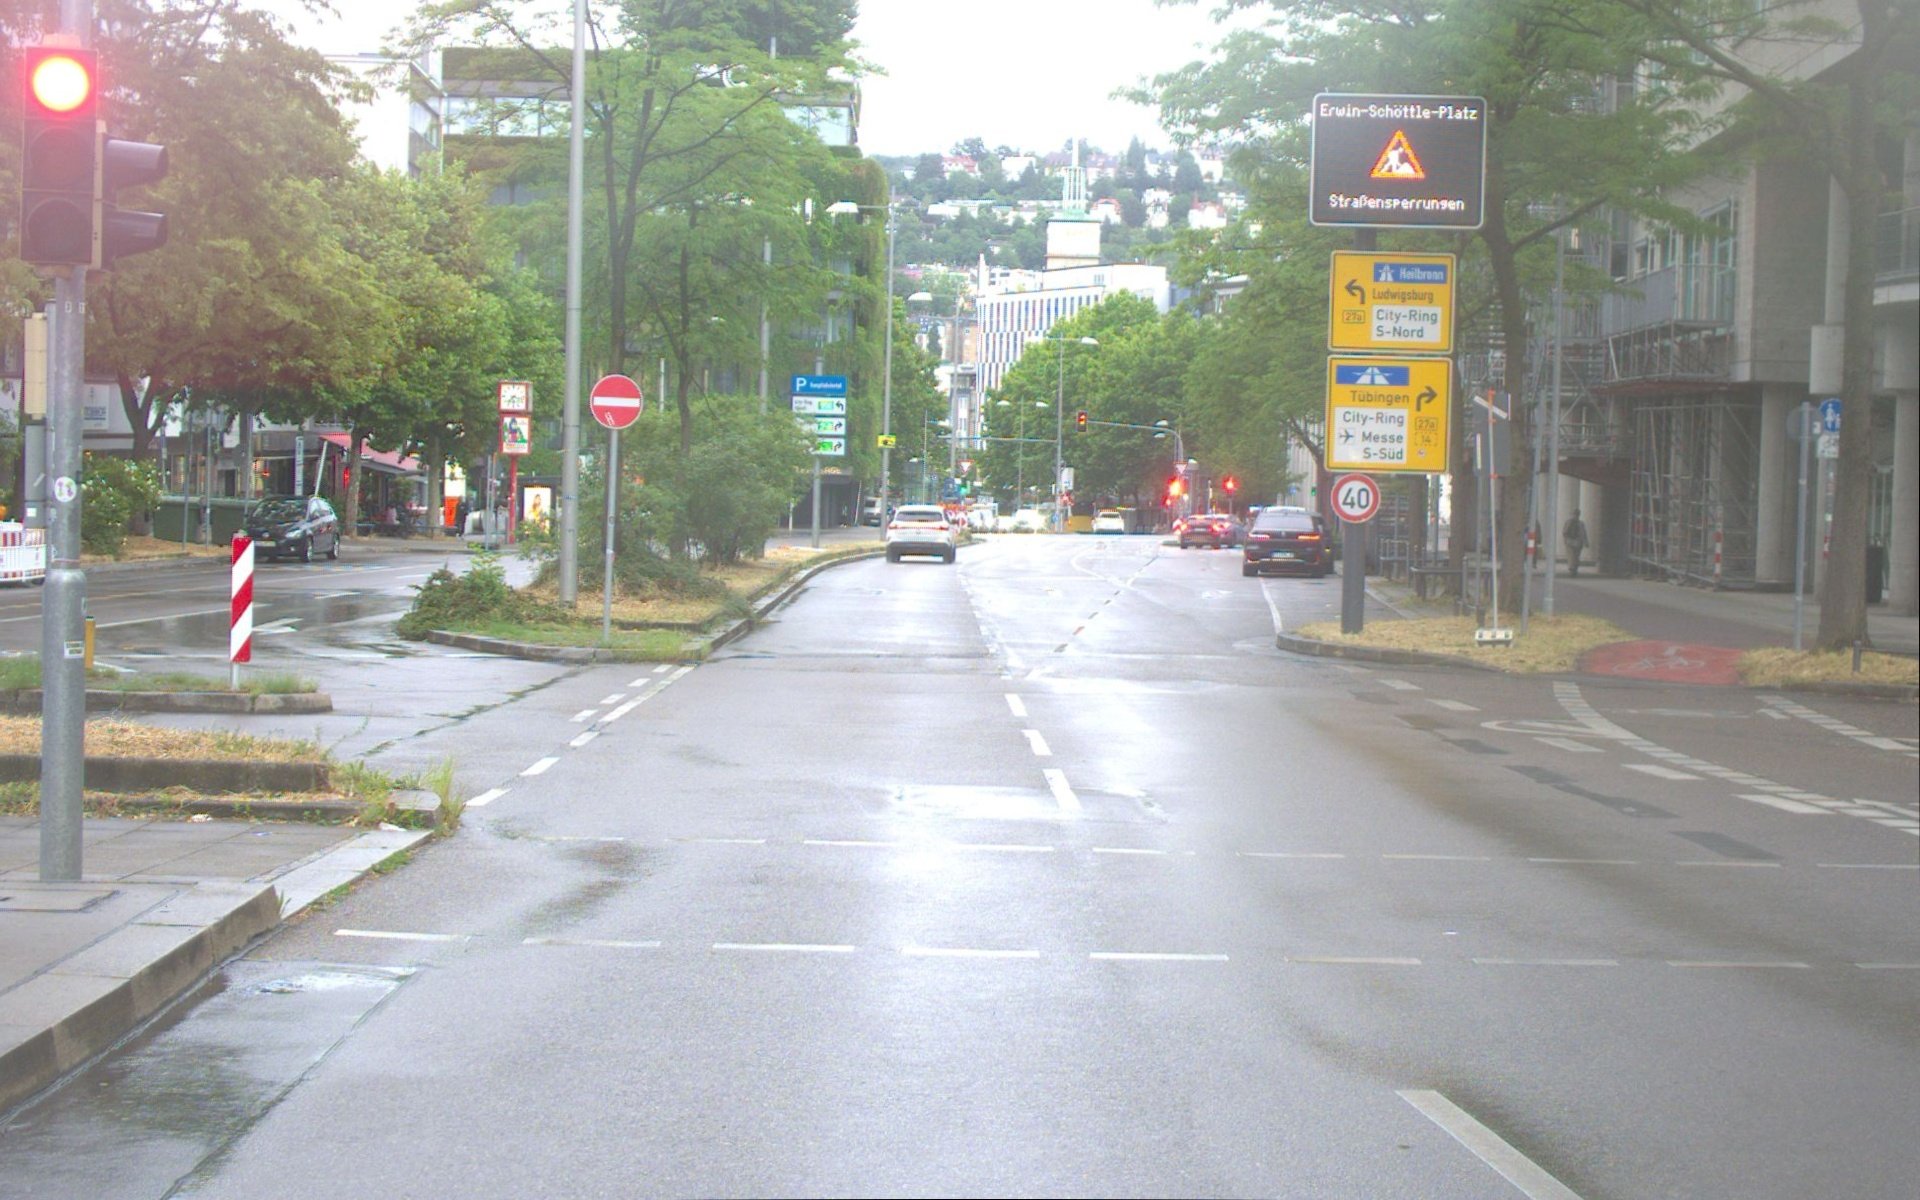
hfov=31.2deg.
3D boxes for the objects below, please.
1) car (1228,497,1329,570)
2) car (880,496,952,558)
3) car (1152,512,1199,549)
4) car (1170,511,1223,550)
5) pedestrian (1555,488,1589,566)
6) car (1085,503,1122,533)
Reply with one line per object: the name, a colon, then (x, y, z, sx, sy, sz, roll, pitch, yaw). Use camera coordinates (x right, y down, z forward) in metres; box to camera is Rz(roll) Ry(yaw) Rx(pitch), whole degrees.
car: (7.755, -1.625, 83.429, 2.339, 1.685, 3.999, 1, 2, 6)
car: (-1.267, -2.055, 97.133, 1.828, 1.634, 4.301, 2, 1, -2)
car: (10.445, -3.355, 166.806, 1.993, 1.730, 4.000, 1, 0, -1)
car: (10.705, -3.134, 155.649, 1.993, 1.718, 4.000, 1, 0, -1)
pedestrian: (15.081, -1.801, 84.749, 0.775, 1.914, 0.702, 1, 0, 10)
car: (8.959, -5.136, 215.068, 1.993, 1.752, 4.000, 2, 1, -2)
